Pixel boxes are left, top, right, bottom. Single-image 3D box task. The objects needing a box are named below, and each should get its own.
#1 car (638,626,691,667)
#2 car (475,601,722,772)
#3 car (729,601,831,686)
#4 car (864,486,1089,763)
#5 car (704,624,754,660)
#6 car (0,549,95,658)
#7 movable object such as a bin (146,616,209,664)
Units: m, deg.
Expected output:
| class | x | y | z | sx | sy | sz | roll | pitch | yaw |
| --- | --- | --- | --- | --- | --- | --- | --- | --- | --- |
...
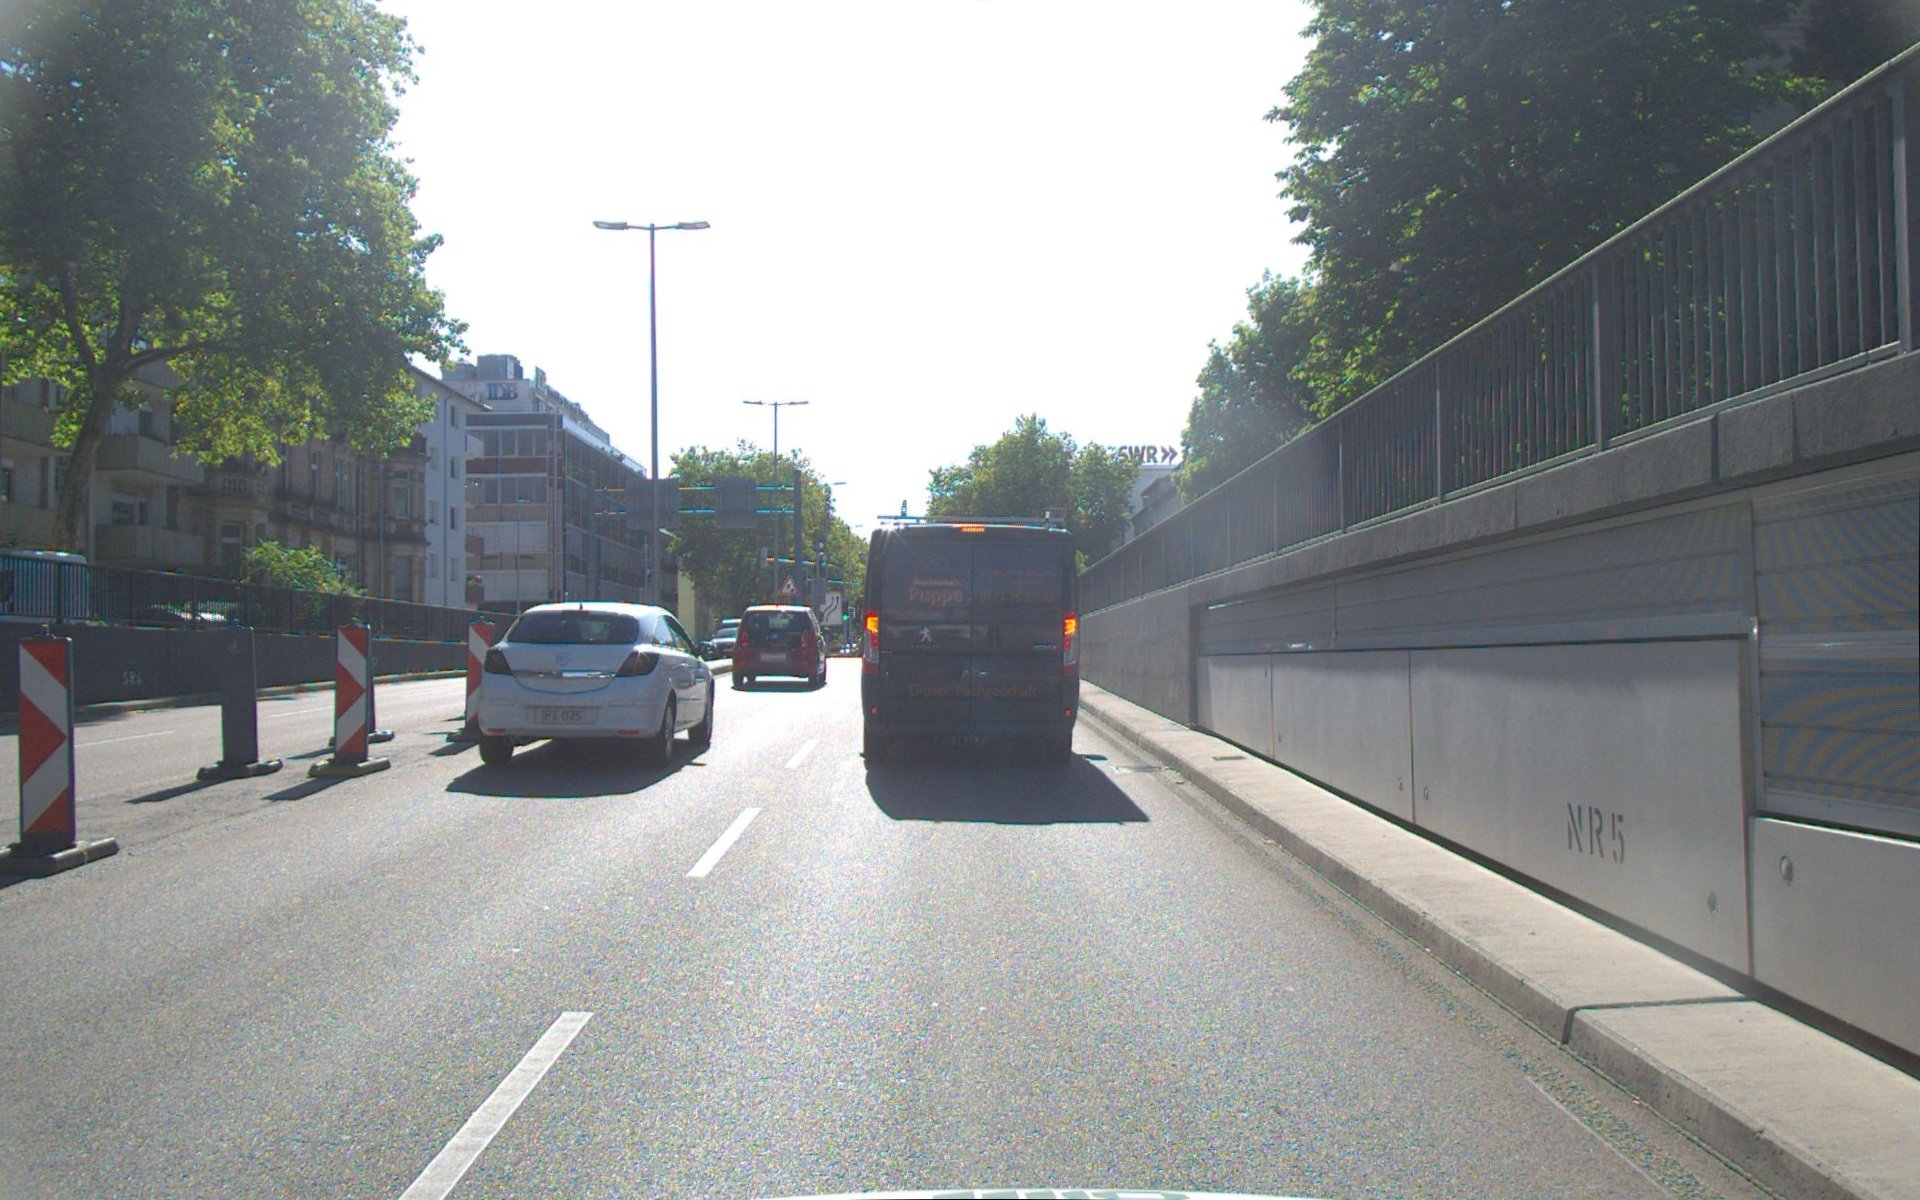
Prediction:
| class | x | y | z | sx | sy | sz | roll | pitch | yaw |
| --- | --- | --- | --- | --- | --- | --- | --- | --- | --- |
| car | -11.948 | 1.867 | 67.042 | 1.508 | 1.490 | 3.716 | -3 | -1 | -2 |
| car | -3.321 | 0.740 | 15.883 | 1.586 | 1.428 | 3.851 | 1 | 0 | -1 |
| car | -3.379 | 0.801 | 31.563 | 1.655 | 1.509 | 3.317 | 1 | 0 | -2 |
| car | 0.109 | 0.262 | 16.643 | 1.989 | 2.445 | 3.971 | 0 | -2 | -1 |
| car | -9.379 | 1.669 | 67.312 | 1.508 | 1.322 | 3.926 | -3 | -1 | -2 |
| car | -22.087 | 0.090 | 37.577 | 1.953 | 2.401 | 5.418 | 1 | -1 | 0 |
| movable object such as a bin | -23.578 | 1.204 | 49.850 | 1.253 | 1.427 | 1.301 | 1 | -2 | -1 |
